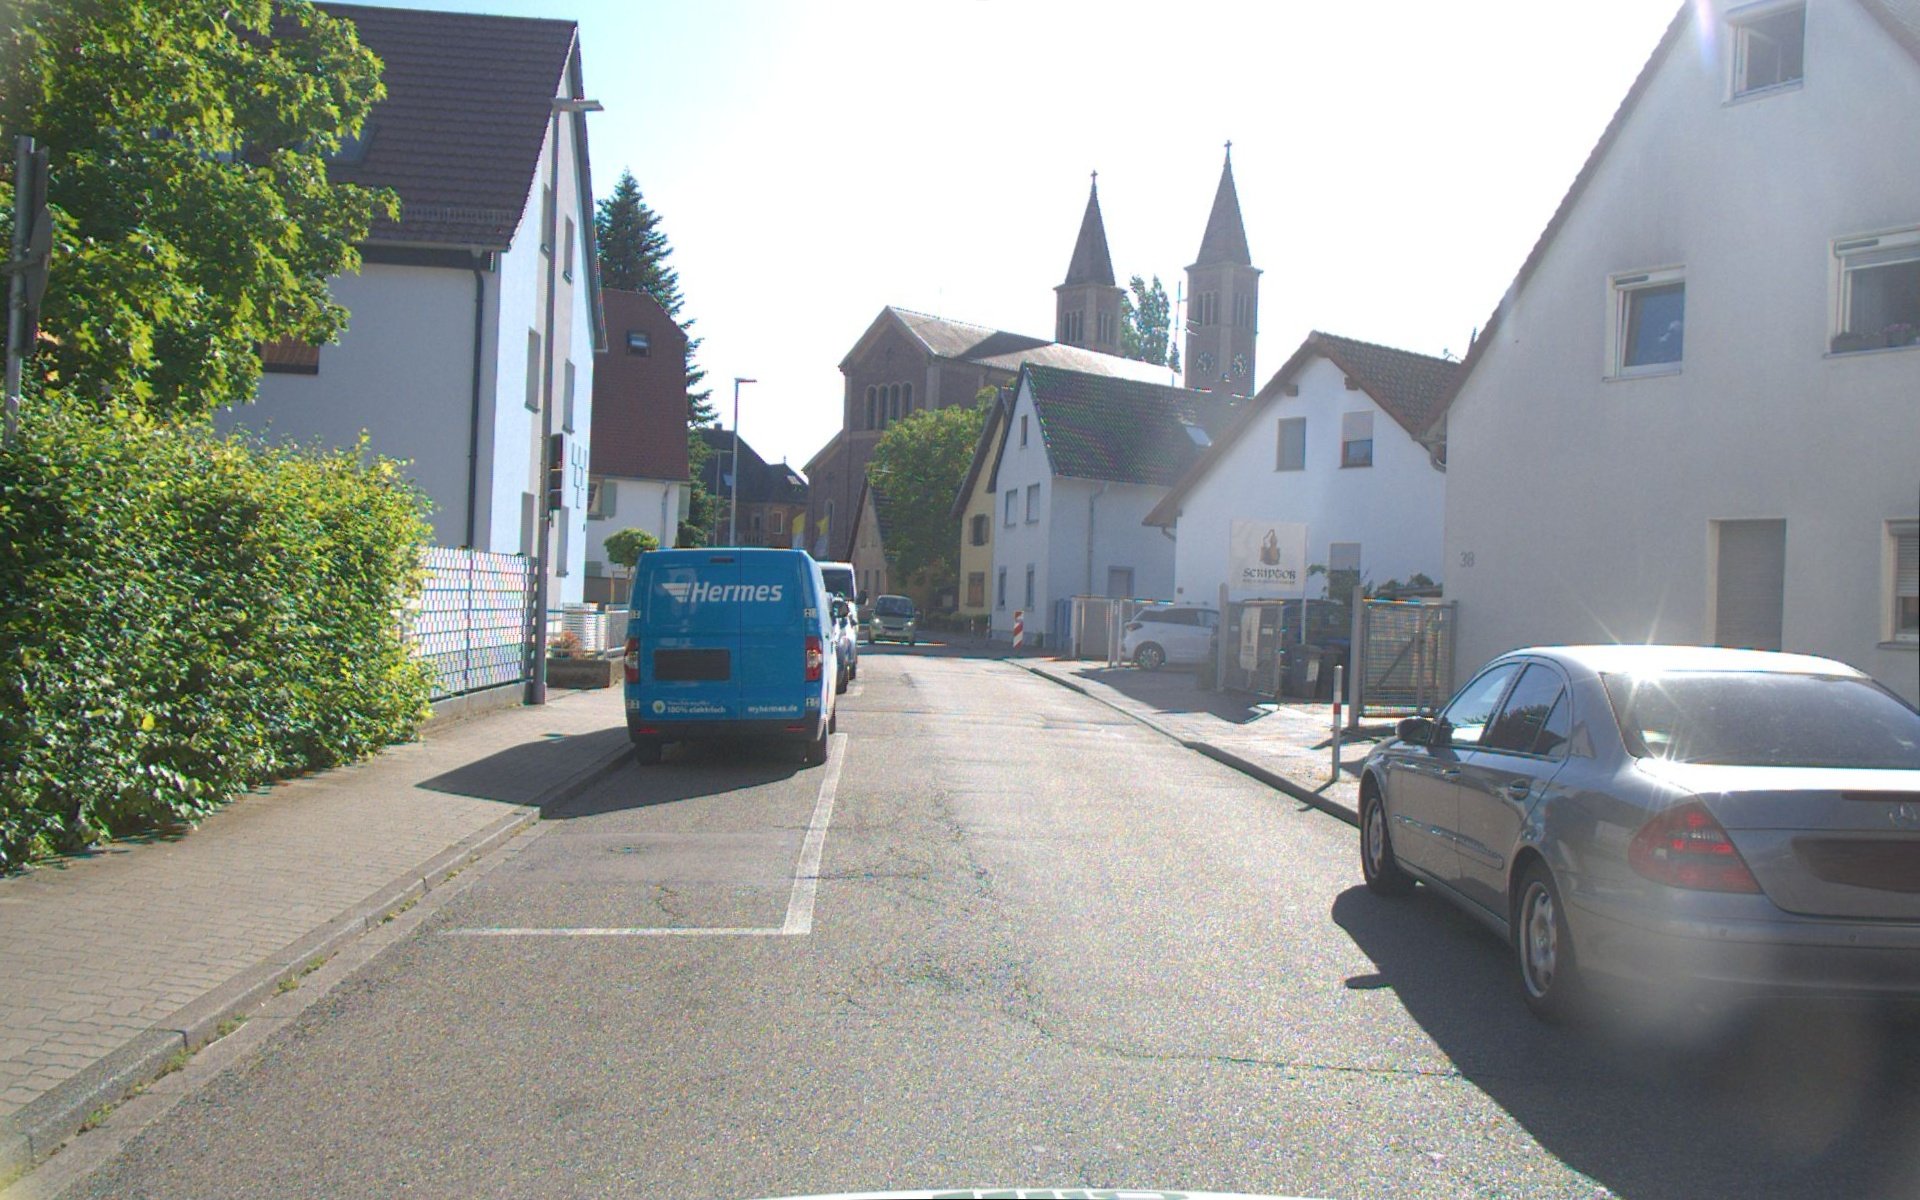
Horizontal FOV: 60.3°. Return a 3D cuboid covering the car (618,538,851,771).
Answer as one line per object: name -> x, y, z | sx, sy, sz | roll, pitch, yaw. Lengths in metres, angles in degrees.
car -> -2.063, 0.441, 16.480 | 1.864, 1.951, 5.067 | 1, 0, -3

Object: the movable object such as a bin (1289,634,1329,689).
movable object such as a bin -> 6.230, 1.091, 29.493 | 0.510, 0.939, 0.418 | 4, -1, -33

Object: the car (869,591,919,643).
car -> -2.152, 0.518, 53.330 | 1.543, 1.573, 2.964 | 1, 0, -3

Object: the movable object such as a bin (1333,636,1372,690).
movable object such as a bin -> 7.137, 1.148, 30.091 | 0.510, 0.939, 0.418 | 4, -1, -33

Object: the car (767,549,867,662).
car -> -3.282, 0.092, 38.952 | 2.153, 2.431, 6.060 | 0, 0, -3

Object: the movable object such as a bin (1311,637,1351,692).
movable object such as a bin -> 6.677, 1.156, 29.793 | 0.510, 0.939, 0.418 | 4, -1, -33

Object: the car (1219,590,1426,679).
car -> 7.509, 0.688, 34.165 | 3.996, 1.718, 1.891 | 1, 1, -32

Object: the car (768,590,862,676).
car -> -2.739, 0.584, 31.961 | 1.677, 1.530, 4.232 | 1, 0, -3

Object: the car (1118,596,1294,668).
car -> 5.501, 0.706, 37.413 | 3.829, 1.518, 1.848 | 1, 0, 5

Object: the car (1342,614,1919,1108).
car -> 3.200, 0.881, 7.653 | 1.774, 1.501, 4.660 | 3, 0, 1

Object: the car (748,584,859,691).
car -> -2.536, 0.563, 27.487 | 1.681, 1.626, 3.922 | 1, 0, -3
